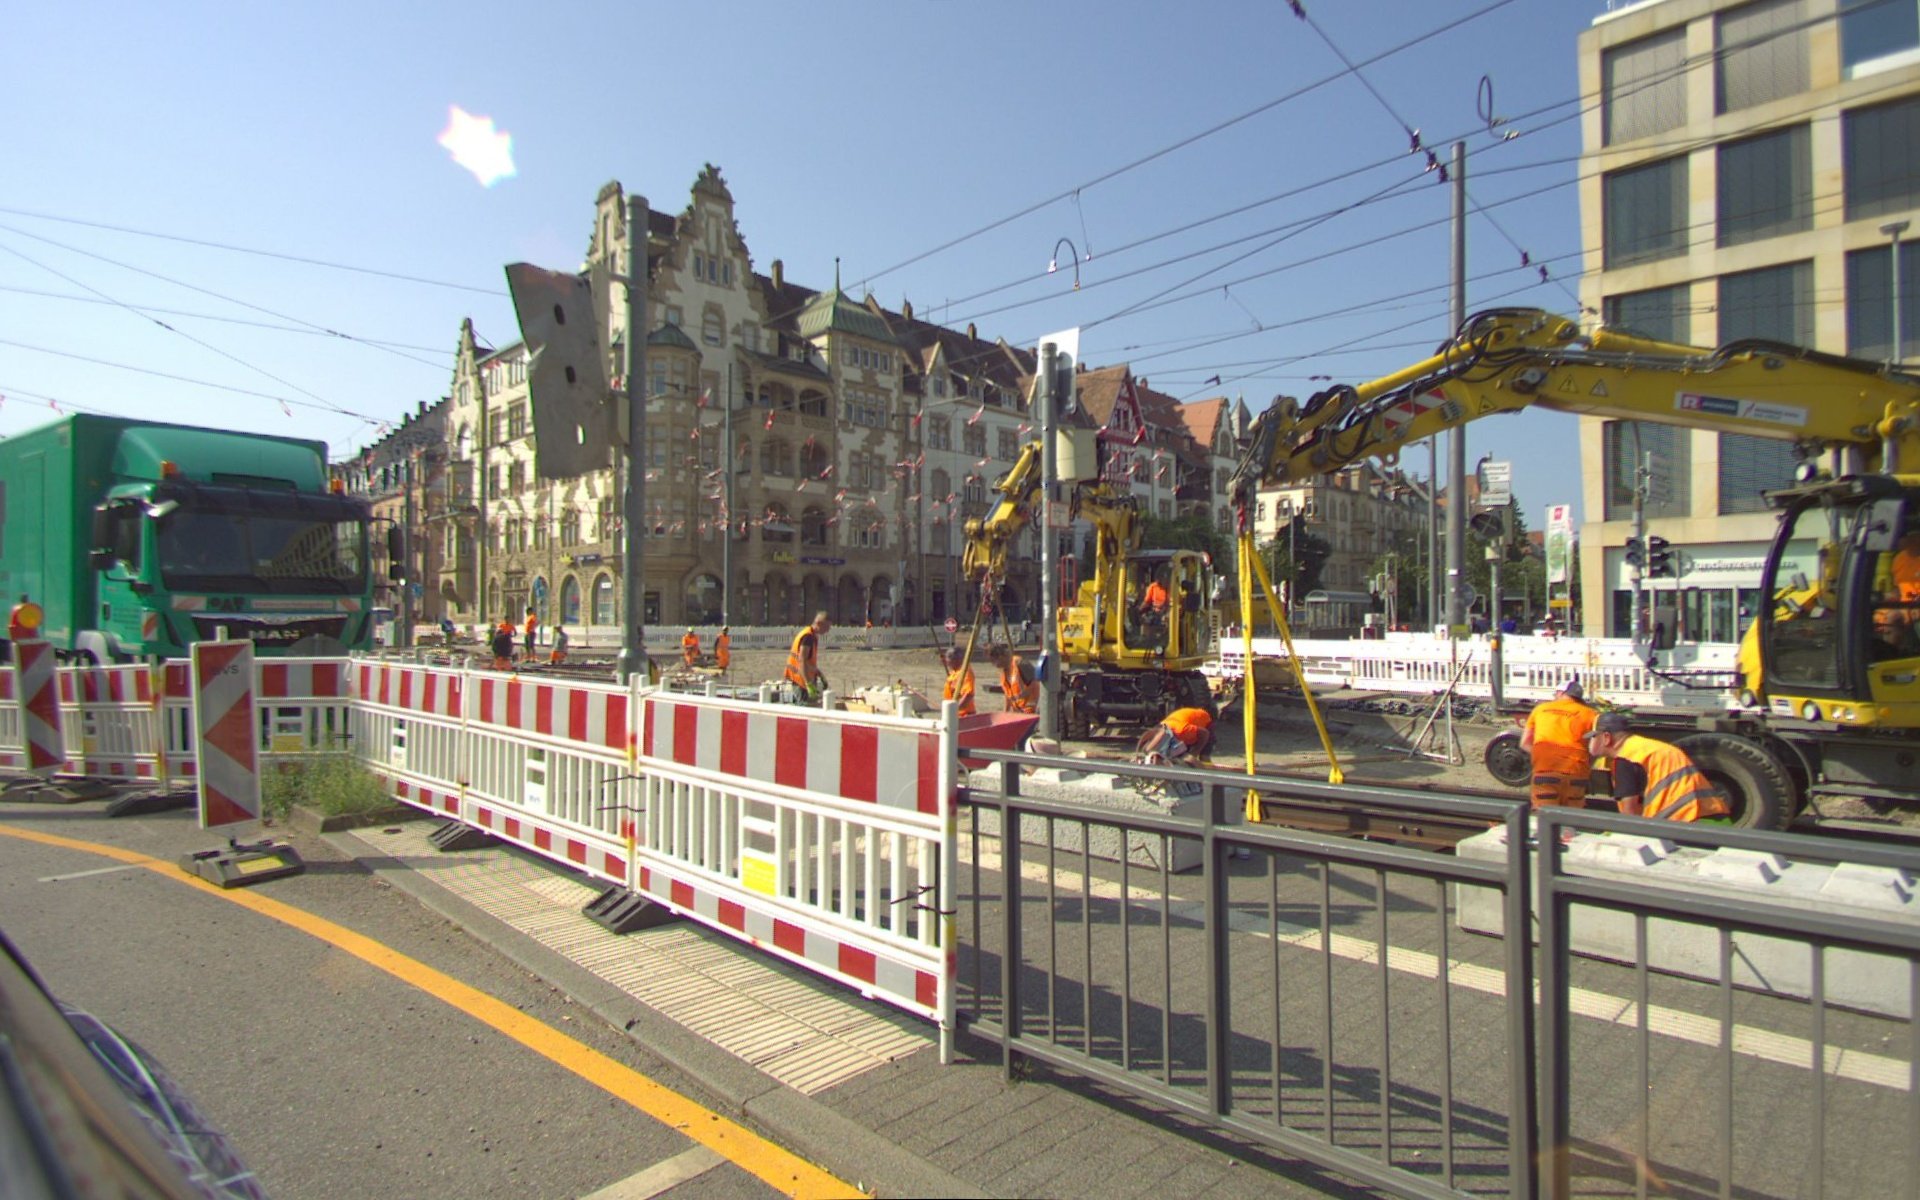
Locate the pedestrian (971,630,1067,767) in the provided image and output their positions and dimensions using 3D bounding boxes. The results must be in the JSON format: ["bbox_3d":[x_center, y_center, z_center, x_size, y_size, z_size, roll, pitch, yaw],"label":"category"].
[{"bbox_3d":[0.600,0.982,10.478,0.691,1.345,0.840,1,-2,-24],"label":"pedestrian"}]

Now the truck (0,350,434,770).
[{"bbox_3d":[-10.428,-0.259,12.971,8.997,3.817,2.783,-1,-3,36],"label":"truck"}]

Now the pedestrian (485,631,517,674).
[{"bbox_3d":[-13.513,1.533,29.795,0.548,1.256,0.668,-1,-2,44],"label":"pedestrian"}]

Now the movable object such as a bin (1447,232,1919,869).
[{"bbox_3d":[7.208,-0.313,9.149,2.951,4.589,4.216,2,-2,-42],"label":"movable object such as a bin"}]

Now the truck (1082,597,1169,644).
[{"bbox_3d":[10.722,1.332,65.086,2.692,2.836,5.955,-1,-2,43],"label":"truck"}]

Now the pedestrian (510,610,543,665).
[{"bbox_3d":[-13.814,1.187,32.280,0.678,1.715,0.742,-1,-2,45],"label":"pedestrian"}]

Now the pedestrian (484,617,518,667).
[{"bbox_3d":[-14.765,1.341,32.581,0.728,1.568,0.752,0,-2,3],"label":"pedestrian"}]

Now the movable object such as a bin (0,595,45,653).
[{"bbox_3d":[-42.239,0.983,43.719,2.908,2.427,3.139,2,-3,30],"label":"movable object such as a bin"}]

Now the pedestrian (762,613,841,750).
[{"bbox_3d":[-1.813,0.902,11.520,0.730,1.490,0.705,1,-2,-22],"label":"pedestrian"}]

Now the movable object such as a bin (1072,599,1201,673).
[{"bbox_3d":[7.290,1.389,41.478,5.437,2.810,2.493,1,0,-44],"label":"movable object such as a bin"}]

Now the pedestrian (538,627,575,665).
[{"bbox_3d":[-13.328,1.529,33.408,0.866,1.192,0.722,1,-3,38],"label":"pedestrian"}]

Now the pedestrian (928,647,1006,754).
[{"bbox_3d":[0.075,1.153,11.882,0.691,1.186,0.704,1,-2,-24],"label":"pedestrian"}]

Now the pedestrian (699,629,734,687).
[{"bbox_3d":[-7.329,1.733,30.491,0.759,1.715,0.730,-1,-2,44],"label":"pedestrian"}]

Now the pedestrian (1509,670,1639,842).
[{"bbox_3d":[4.508,1.118,7.477,0.698,1.163,0.584,-1,-2,20],"label":"pedestrian"}]

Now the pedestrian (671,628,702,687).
[{"bbox_3d":[-8.146,1.690,30.120,0.728,1.715,0.761,1,-2,-25],"label":"pedestrian"}]

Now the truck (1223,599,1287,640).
[{"bbox_3d":[22.866,1.542,78.391,2.238,3.067,6.267,-1,-2,42],"label":"truck"}]

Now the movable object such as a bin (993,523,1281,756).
[{"bbox_3d":[3.054,0.627,16.800,3.554,3.247,4.083,-1,-2,30],"label":"movable object such as a bin"}]

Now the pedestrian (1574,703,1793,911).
[{"bbox_3d":[4.056,1.105,5.687,0.692,0.962,0.882,2,-2,-44],"label":"pedestrian"}]
